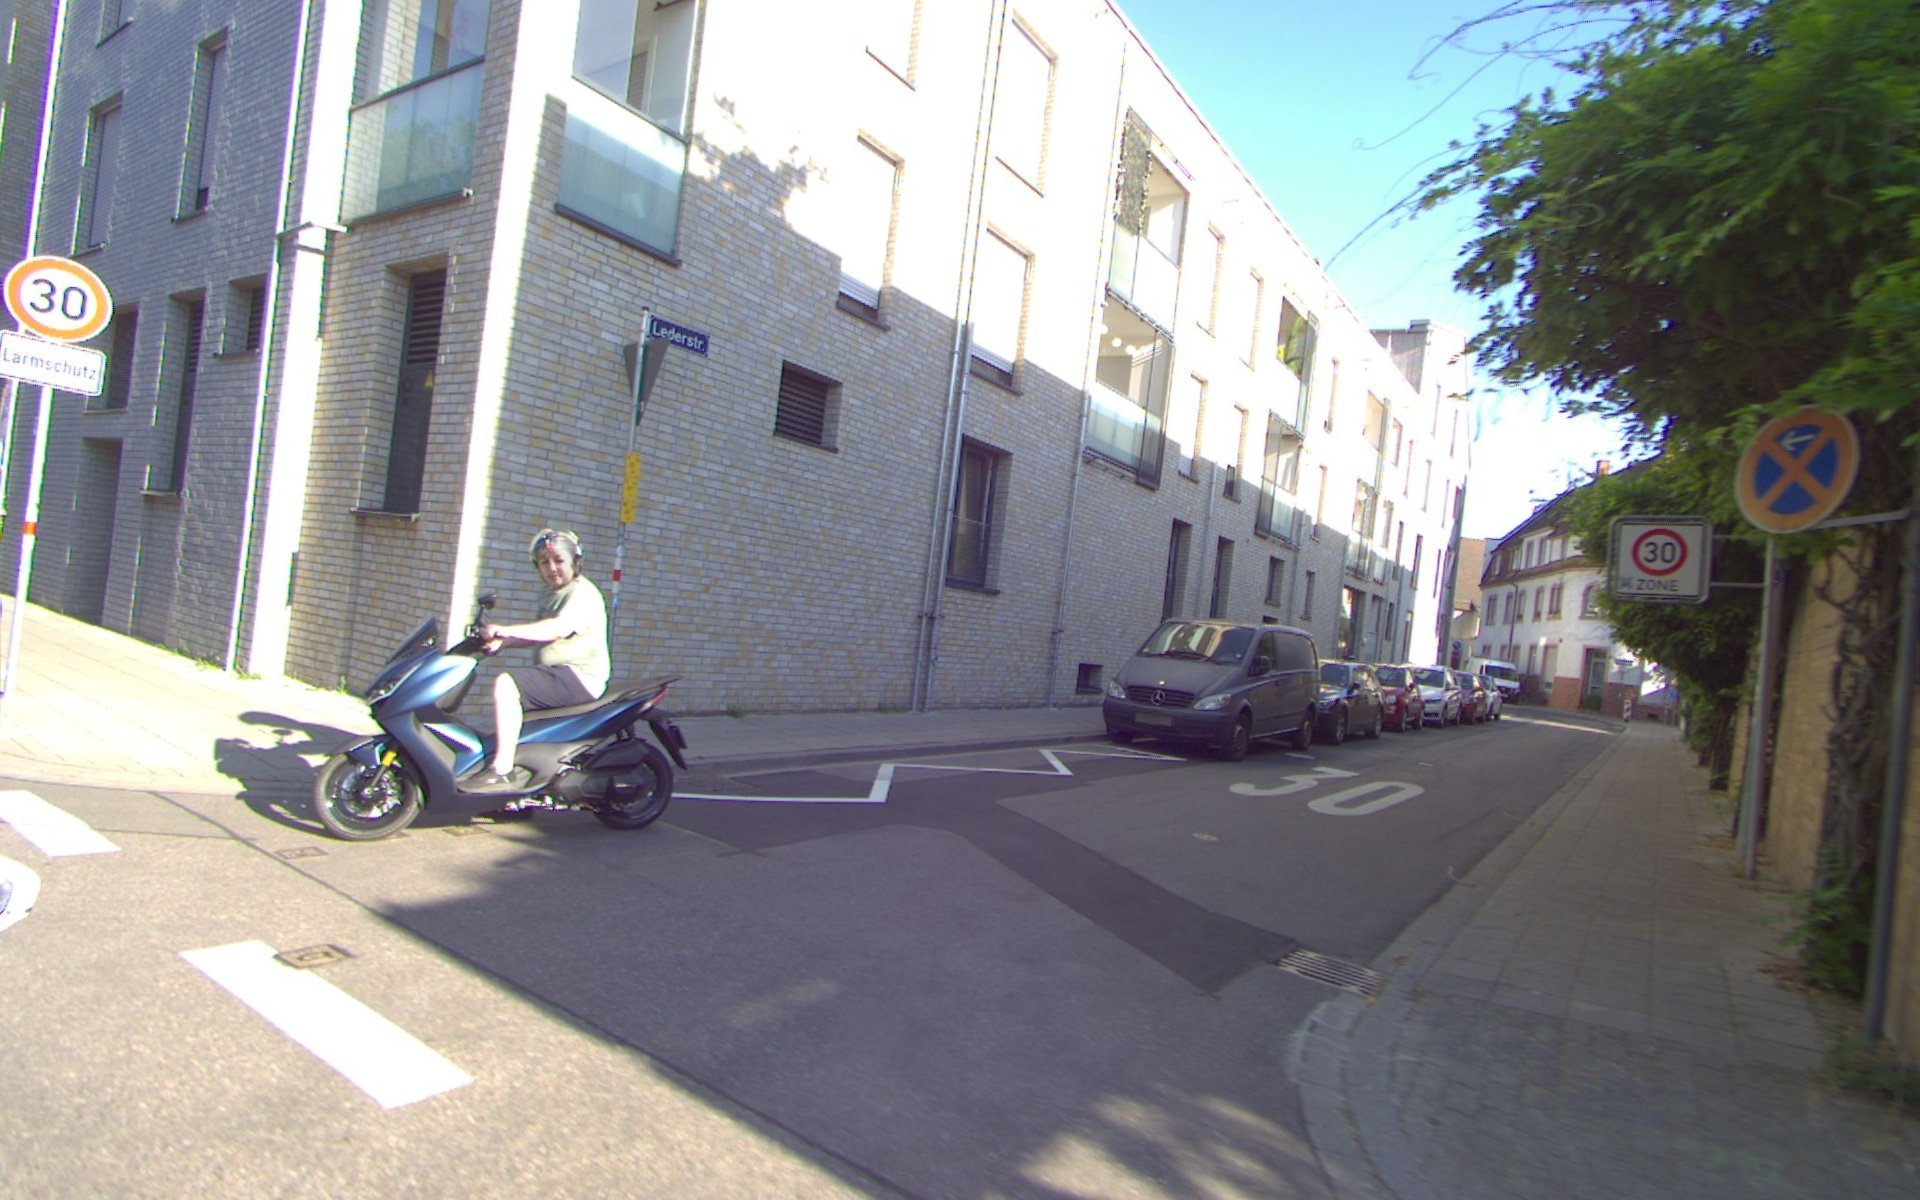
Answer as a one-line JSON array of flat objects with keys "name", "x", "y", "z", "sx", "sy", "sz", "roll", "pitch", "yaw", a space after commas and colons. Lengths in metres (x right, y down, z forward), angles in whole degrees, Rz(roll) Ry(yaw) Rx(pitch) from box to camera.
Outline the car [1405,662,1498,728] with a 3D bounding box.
[{"name": "car", "x": 15.437, "y": 2.944, "z": 31.459, "sx": 1.834, "sy": 1.672, "sz": 4.444, "roll": 6, "pitch": 0, "yaw": 35}]

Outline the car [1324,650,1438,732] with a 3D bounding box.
[{"name": "car", "x": 10.008, "y": 2.151, "z": 23.763, "sx": 1.638, "sy": 1.596, "sz": 3.620, "roll": 6, "pitch": -1, "yaw": 35}]

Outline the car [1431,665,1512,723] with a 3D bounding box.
[{"name": "car", "x": 18.101, "y": 3.290, "z": 35.503, "sx": 1.834, "sy": 1.672, "sz": 4.444, "roll": 6, "pitch": 0, "yaw": 35}]

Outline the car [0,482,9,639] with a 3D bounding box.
[{"name": "car", "x": -9.902, "y": -0.365, "z": 8.594, "sx": 4.003, "sy": 1.608, "sz": 1.630, "roll": 6, "pitch": 2, "yaw": 33}]

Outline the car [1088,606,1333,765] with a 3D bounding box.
[{"name": "car", "x": 3.844, "y": 1.165, "z": 14.779, "sx": 1.834, "sy": 1.804, "sz": 4.604, "roll": 6, "pitch": 1, "yaw": 35}]

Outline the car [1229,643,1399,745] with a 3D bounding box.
[{"name": "car", "x": 6.783, "y": 1.743, "z": 18.988, "sx": 1.802, "sy": 1.496, "sz": 4.388, "roll": 6, "pitch": 0, "yaw": 35}]

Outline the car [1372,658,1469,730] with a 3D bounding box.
[{"name": "car", "x": 12.558, "y": 2.534, "z": 27.300, "sx": 1.638, "sy": 1.621, "sz": 3.660, "roll": 6, "pitch": 0, "yaw": 35}]

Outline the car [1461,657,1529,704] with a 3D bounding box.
[{"name": "car", "x": 31.490, "y": 4.682, "z": 59.425, "sx": 1.974, "sy": 2.335, "sz": 5.607, "roll": 6, "pitch": 0, "yaw": 14}]

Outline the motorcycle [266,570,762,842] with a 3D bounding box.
[{"name": "motorcycle", "x": -2.429, "y": 0.608, "z": 5.726, "sx": 2.314, "sy": 1.296, "sz": 0.890, "roll": 6, "pitch": -1, "yaw": -28}]

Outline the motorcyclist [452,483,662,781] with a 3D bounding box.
[{"name": "motorcyclist", "x": -2.314, "y": 0.189, "z": 5.735, "sx": 0.869, "sy": 1.490, "sz": 0.890, "roll": 8, "pitch": -1, "yaw": -28}]
